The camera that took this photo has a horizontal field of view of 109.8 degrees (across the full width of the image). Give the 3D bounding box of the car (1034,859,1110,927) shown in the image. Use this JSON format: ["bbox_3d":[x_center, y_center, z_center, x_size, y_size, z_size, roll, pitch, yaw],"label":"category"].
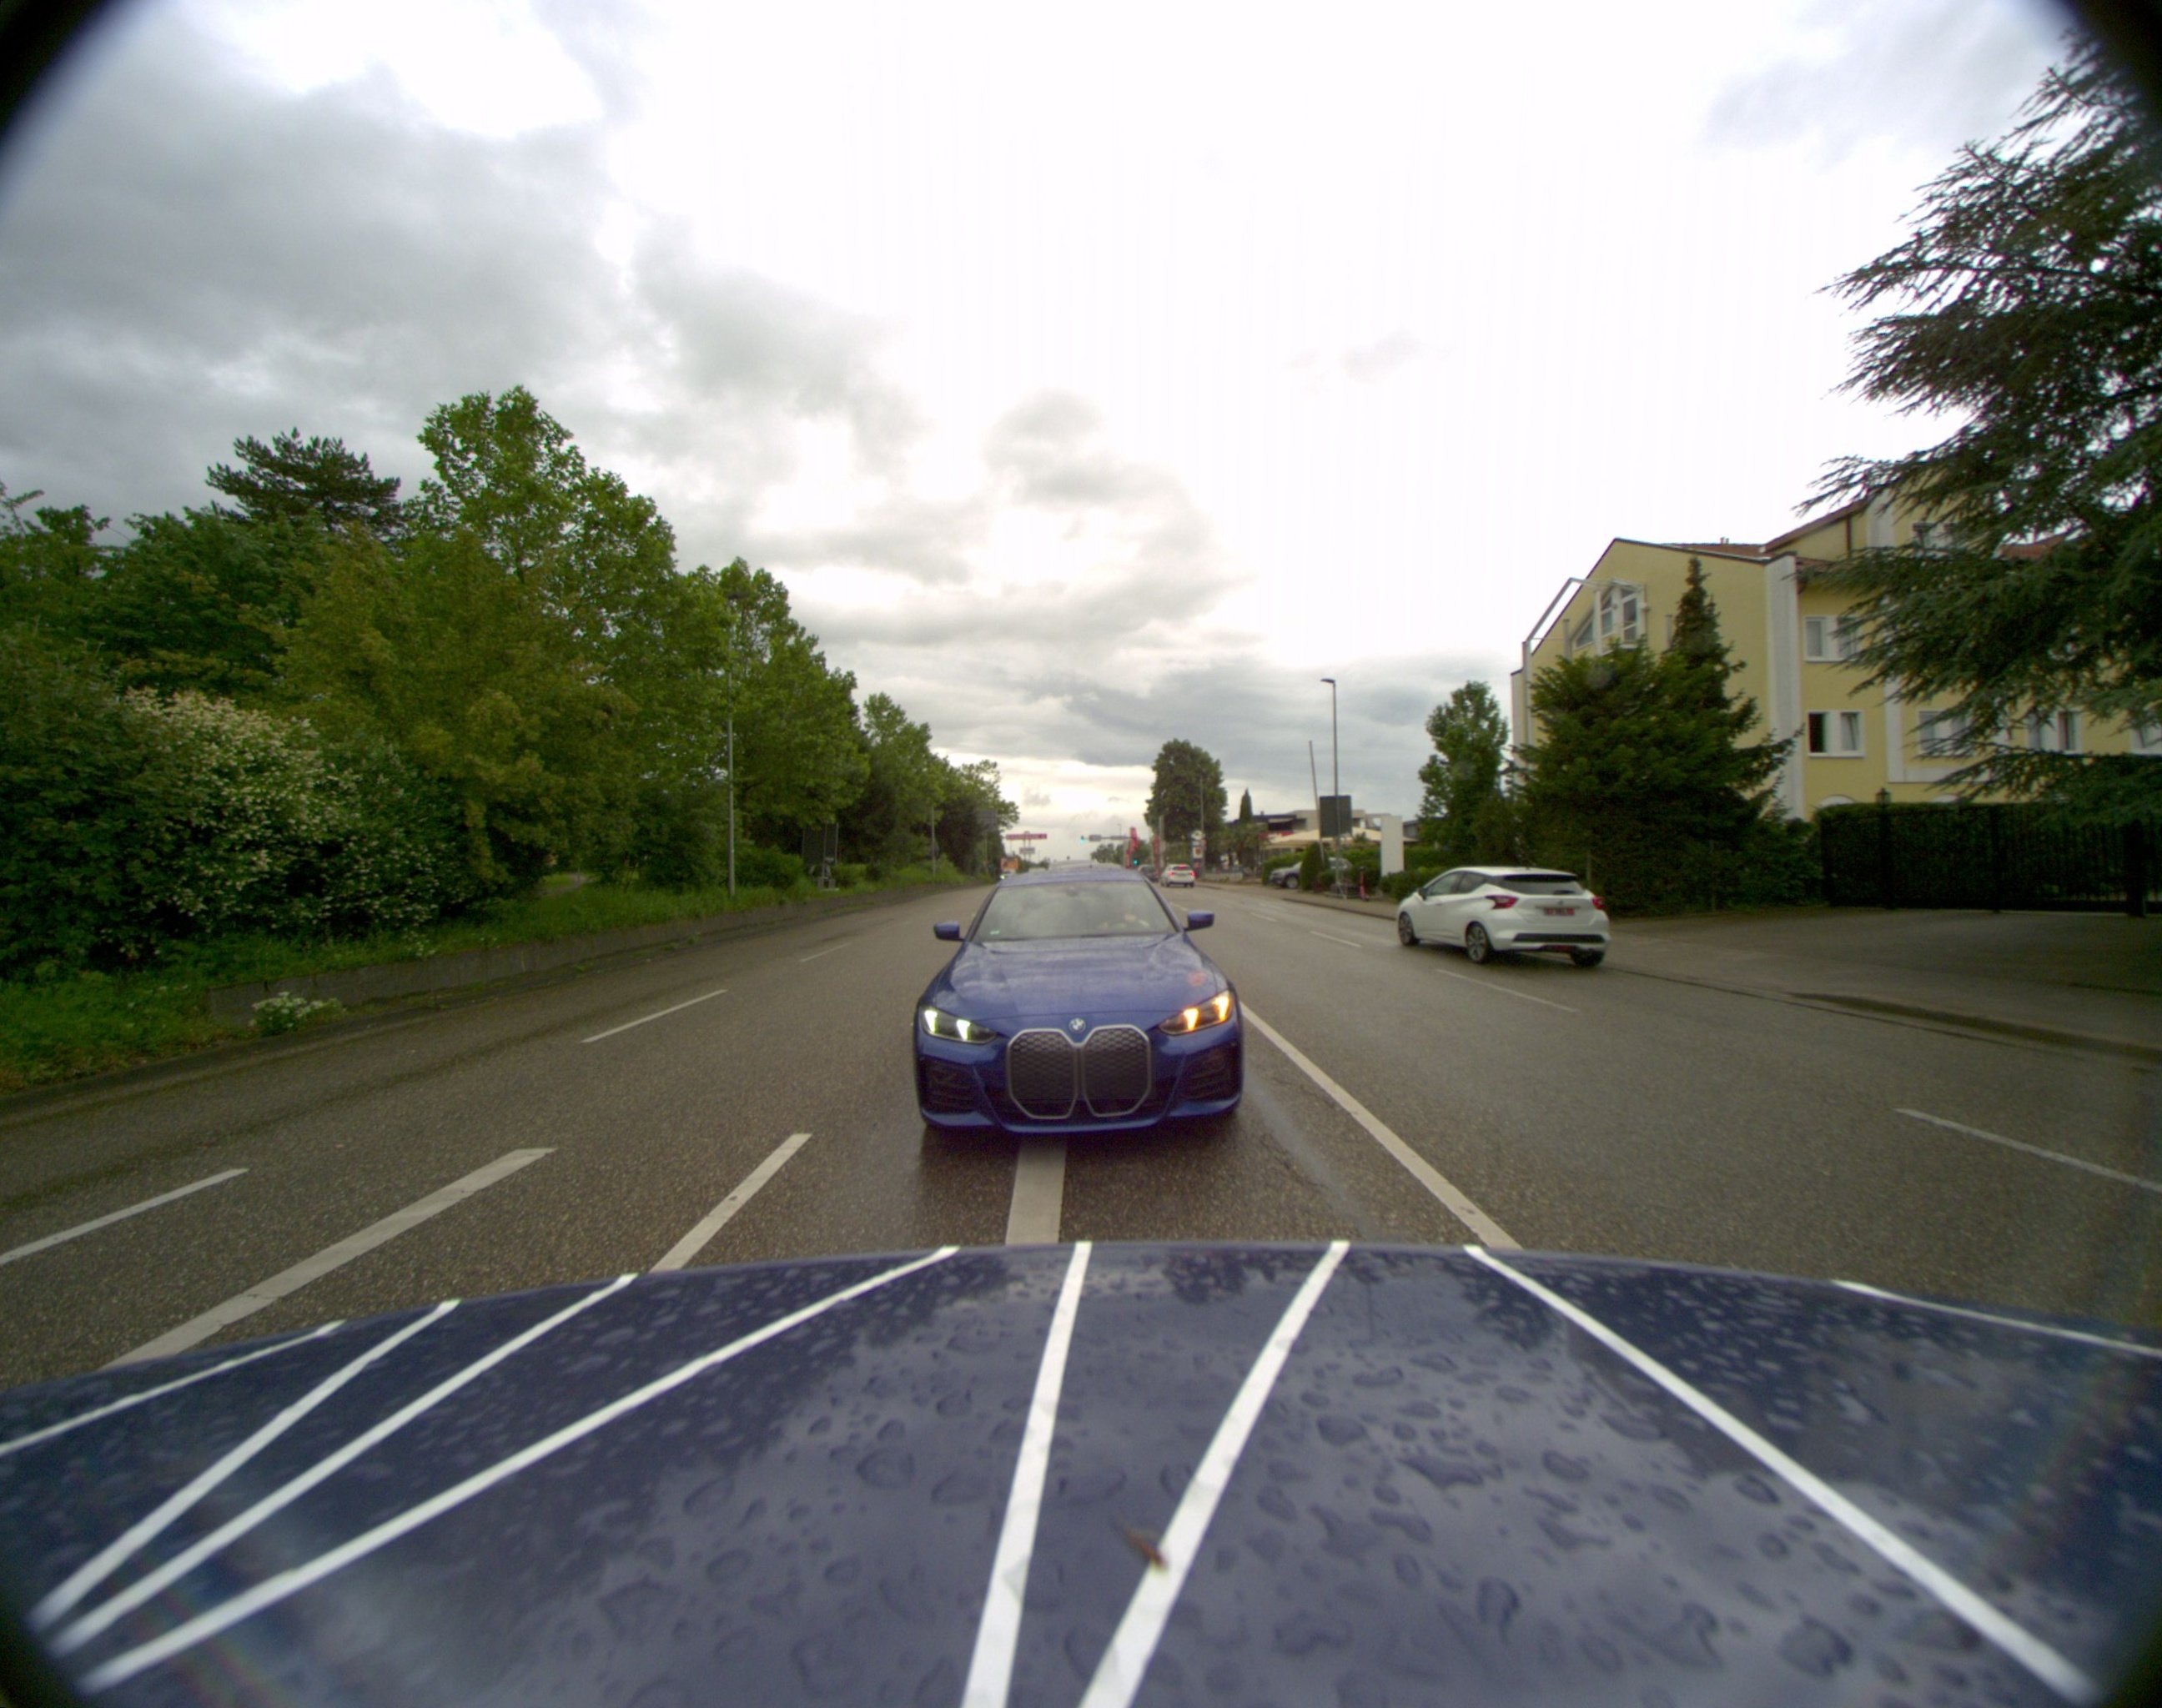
[{"bbox_3d":[-0.199,0.956,20.337,1.807,1.543,4.000,-1,0,0],"label":"car"}]

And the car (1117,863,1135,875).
[{"bbox_3d":[5.515,1.818,93.113,1.790,1.451,4.431,-1,0,-3],"label":"car"}]

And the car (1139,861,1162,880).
[{"bbox_3d":[6.199,1.440,67.778,1.703,1.590,3.550,-2,0,1],"label":"car"}]

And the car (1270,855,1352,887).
[{"bbox_3d":[12.163,0.885,40.378,3.930,1.642,1.719,-1,0,6],"label":"car"}]

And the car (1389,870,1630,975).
[{"bbox_3d":[6.595,0.969,12.216,1.750,1.389,3.802,0,0,0],"label":"car"}]

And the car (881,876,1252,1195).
[{"bbox_3d":[-0.068,0.957,5.882,1.803,1.399,4.272,-1,0,0],"label":"car"}]

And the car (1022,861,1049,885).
[{"bbox_3d":[-3.281,1.339,55.444,1.698,1.580,4.000,-1,0,1],"label":"car"}]

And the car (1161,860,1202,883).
[{"bbox_3d":[6.522,1.130,49.914,1.973,1.446,4.308,0,0,-2],"label":"car"}]

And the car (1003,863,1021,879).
[{"bbox_3d":[-7.478,1.844,82.855,1.705,1.612,3.841,-3,0,-2],"label":"car"}]

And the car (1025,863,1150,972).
[{"bbox_3d":[0.114,0.958,13.257,1.807,1.543,4.223,-1,0,0],"label":"car"}]

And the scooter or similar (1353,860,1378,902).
[{"bbox_3d":[10.037,0.941,26.827,0.505,1.398,1.882,0,0,11],"label":"scooter or similar"}]

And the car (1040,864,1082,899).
[{"bbox_3d":[-0.854,1.232,35.073,1.775,1.448,4.000,-1,0,1],"label":"car"}]

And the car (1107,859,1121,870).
[{"bbox_3d":[4.694,1.499,108.013,1.700,1.467,3.779,-3,0,-2],"label":"car"}]
